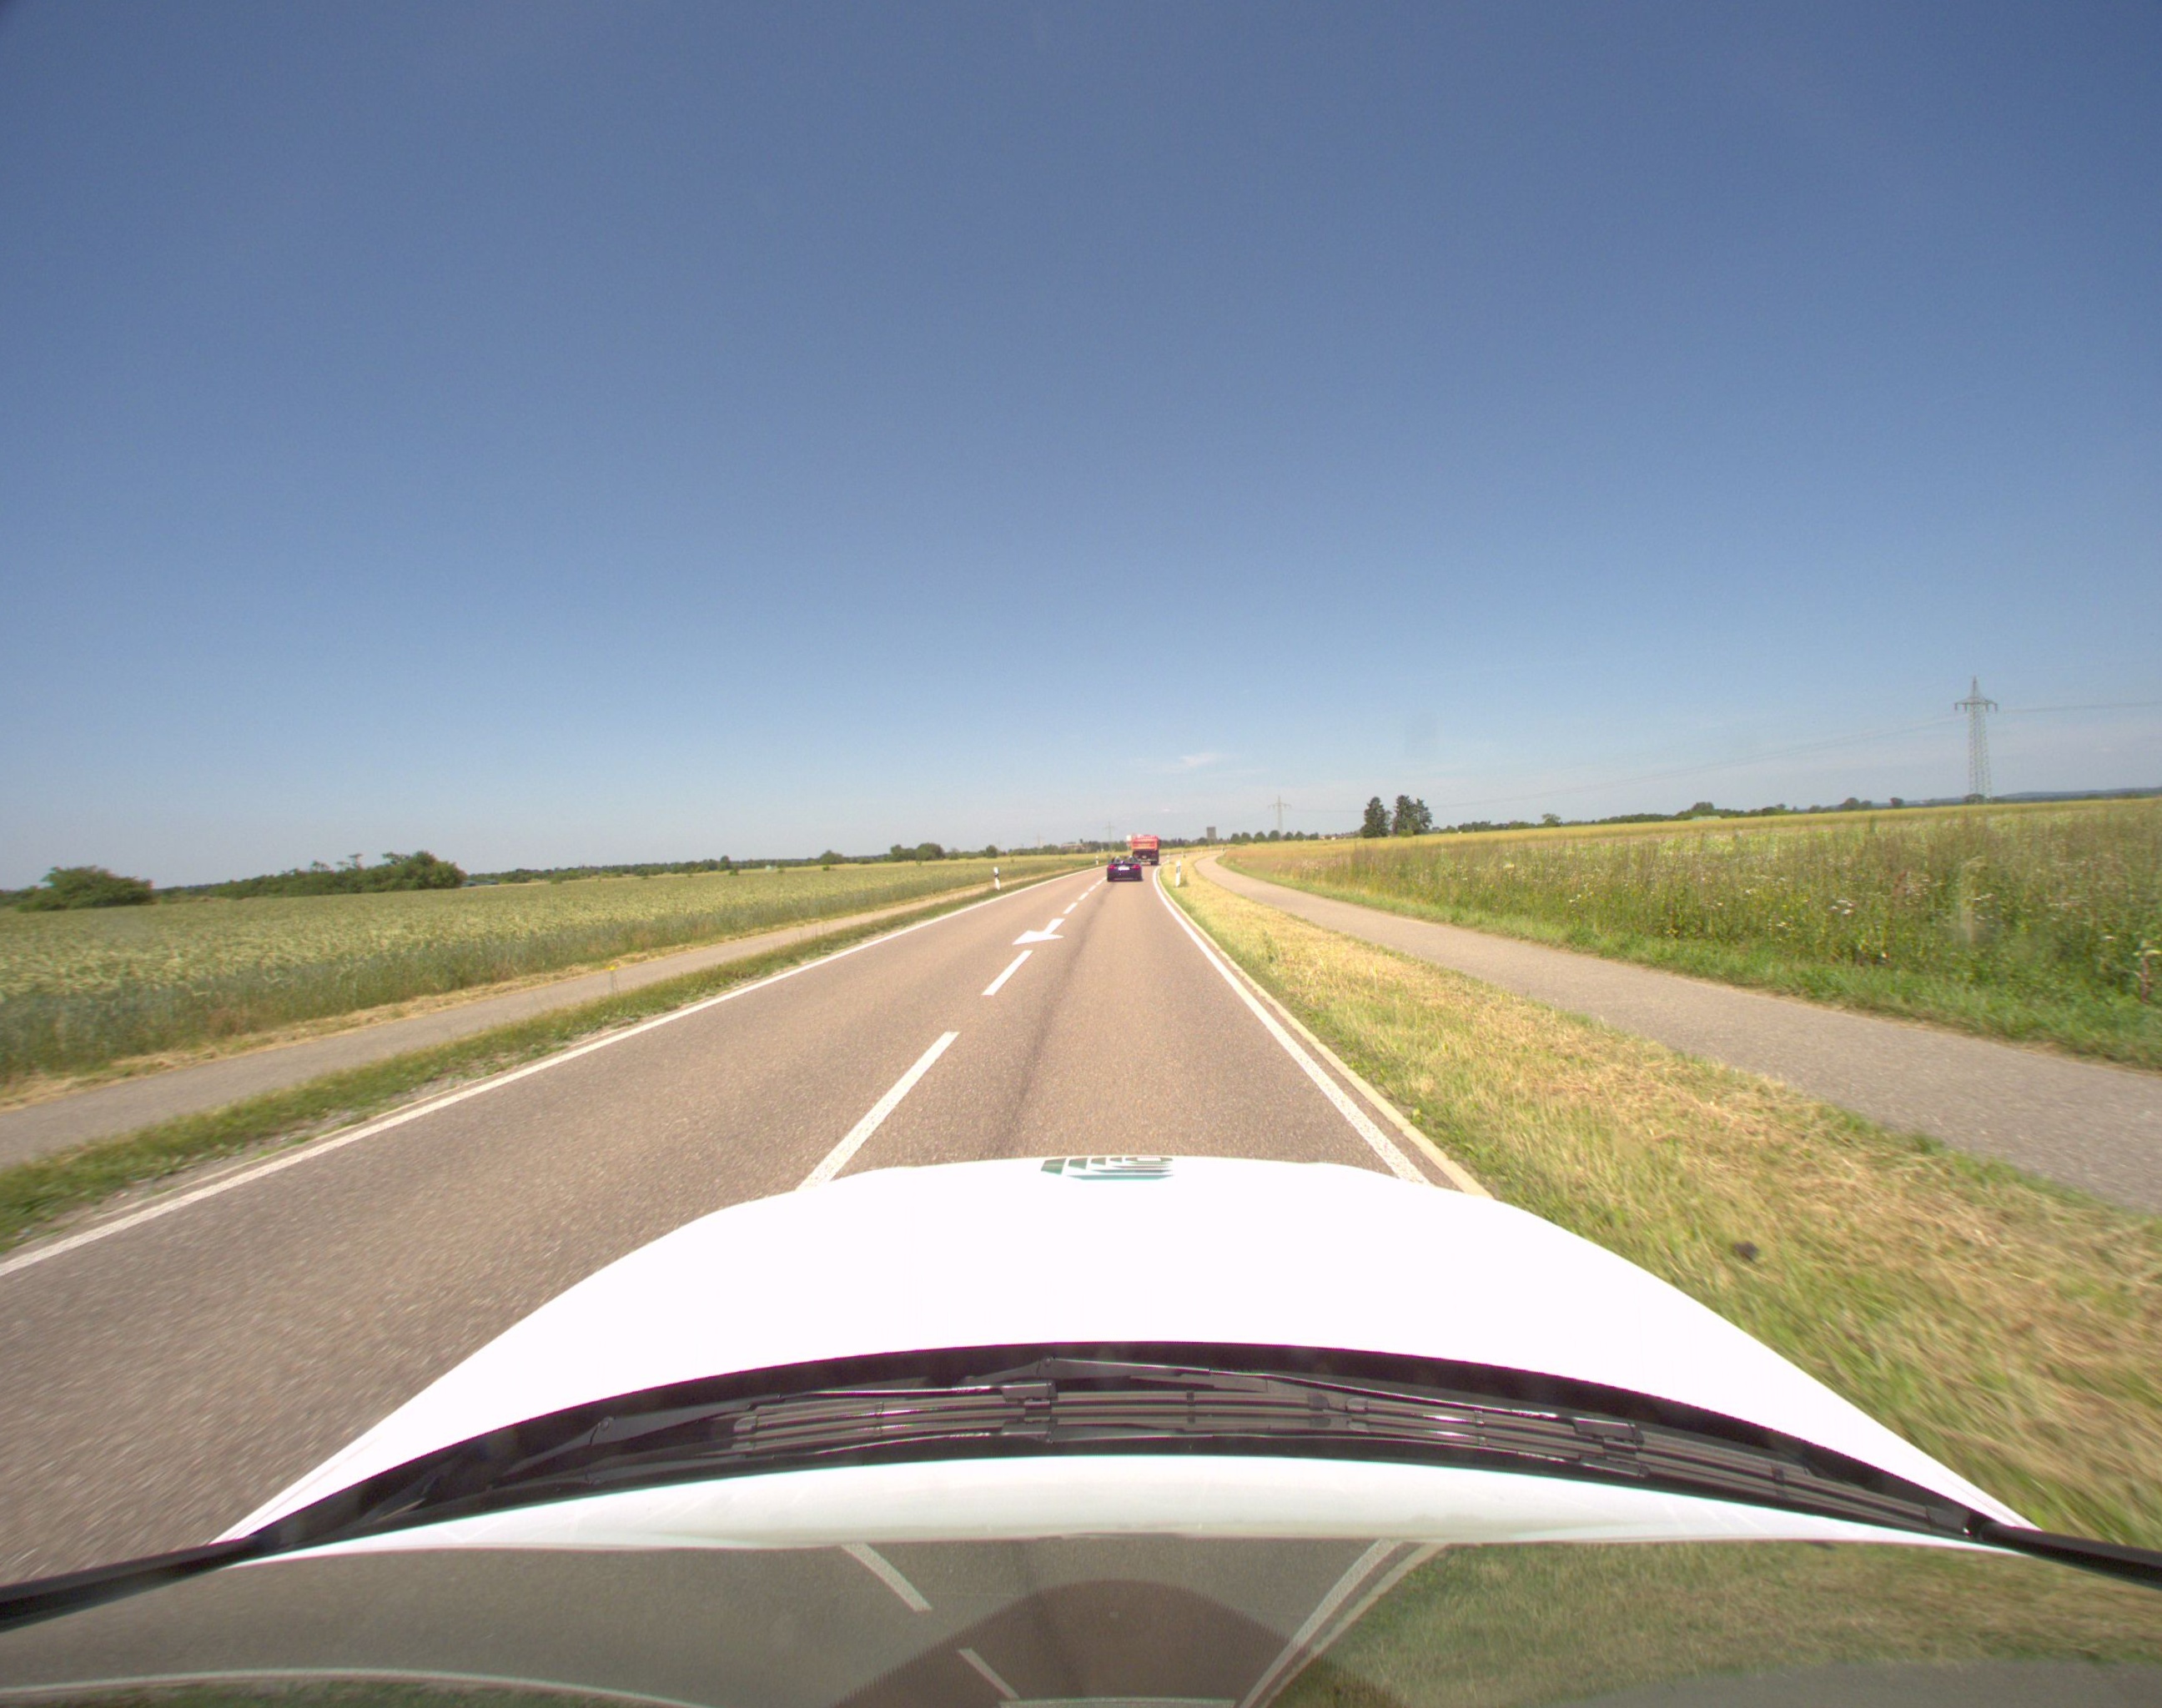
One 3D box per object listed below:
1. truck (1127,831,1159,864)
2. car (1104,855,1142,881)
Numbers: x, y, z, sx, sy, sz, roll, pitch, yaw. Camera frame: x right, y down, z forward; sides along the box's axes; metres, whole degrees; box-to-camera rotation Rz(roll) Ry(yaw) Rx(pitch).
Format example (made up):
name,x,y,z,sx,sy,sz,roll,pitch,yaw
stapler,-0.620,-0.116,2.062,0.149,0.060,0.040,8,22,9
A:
name,x,y,z,sx,sy,sz,roll,pitch,yaw
truck,6.377,-0.613,82.620,2.923,3.089,7.208,-2,0,6
car,2.216,0.695,42.091,1.735,1.280,4.006,-1,0,5
